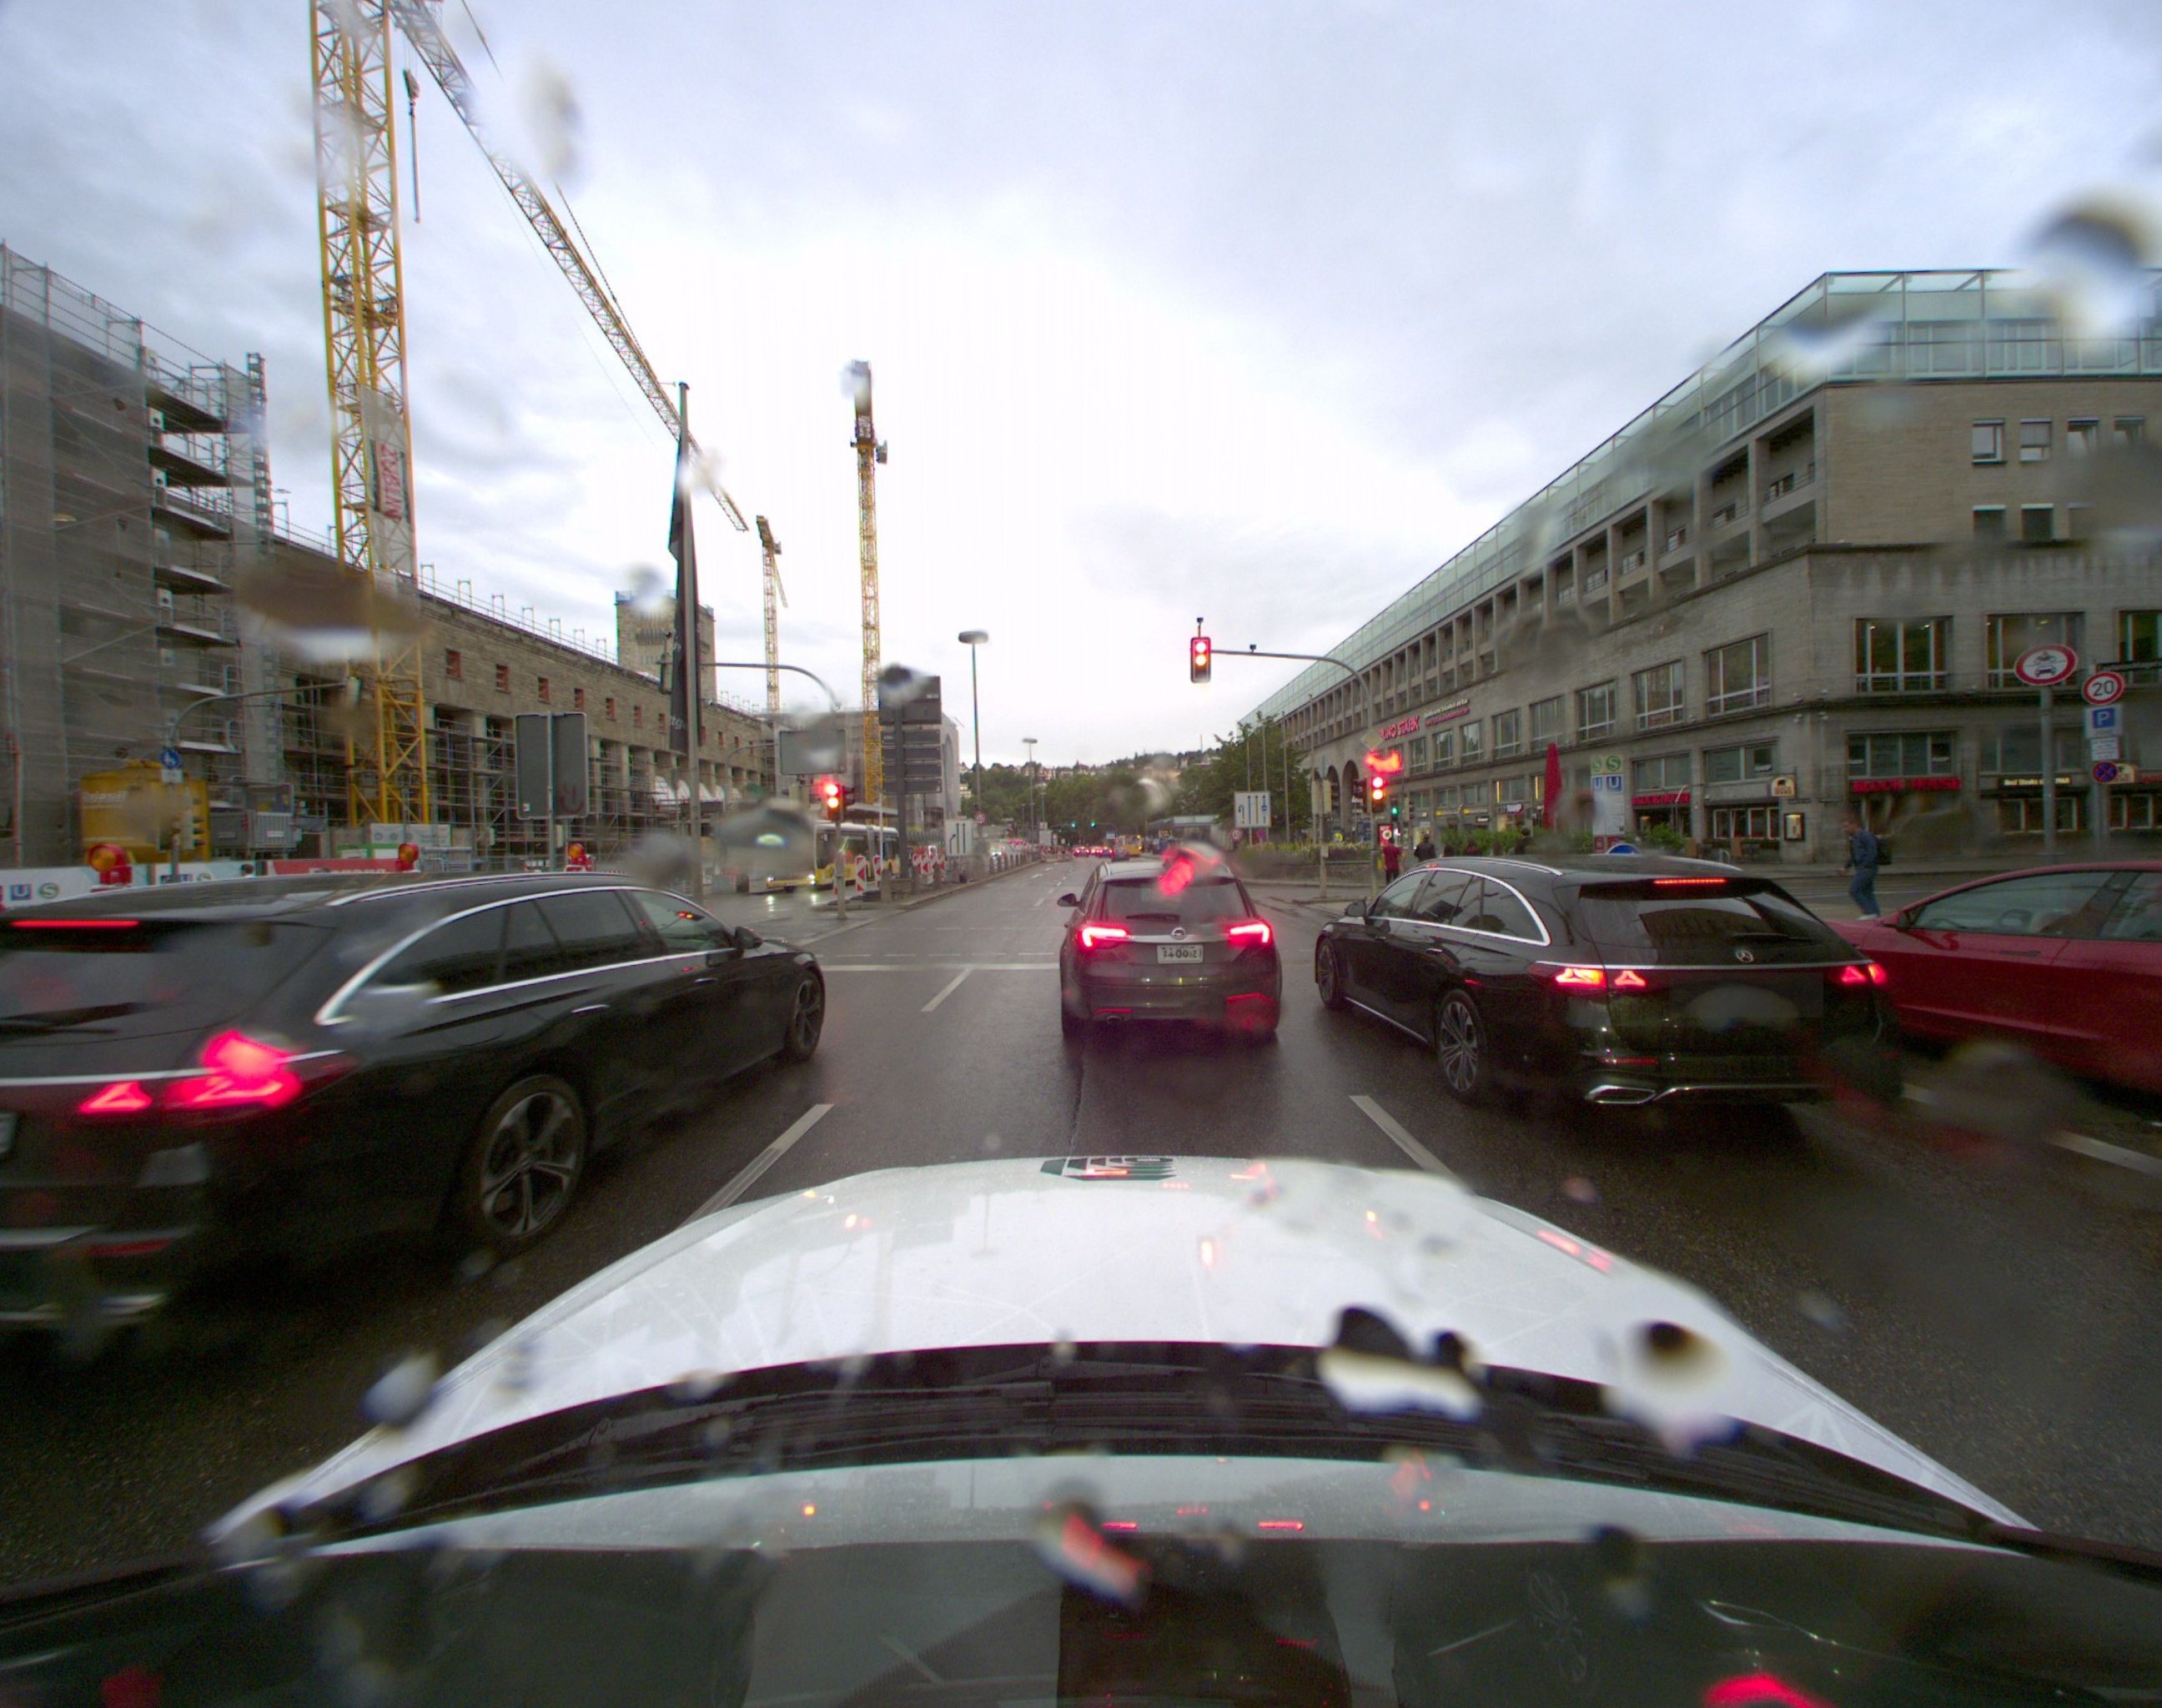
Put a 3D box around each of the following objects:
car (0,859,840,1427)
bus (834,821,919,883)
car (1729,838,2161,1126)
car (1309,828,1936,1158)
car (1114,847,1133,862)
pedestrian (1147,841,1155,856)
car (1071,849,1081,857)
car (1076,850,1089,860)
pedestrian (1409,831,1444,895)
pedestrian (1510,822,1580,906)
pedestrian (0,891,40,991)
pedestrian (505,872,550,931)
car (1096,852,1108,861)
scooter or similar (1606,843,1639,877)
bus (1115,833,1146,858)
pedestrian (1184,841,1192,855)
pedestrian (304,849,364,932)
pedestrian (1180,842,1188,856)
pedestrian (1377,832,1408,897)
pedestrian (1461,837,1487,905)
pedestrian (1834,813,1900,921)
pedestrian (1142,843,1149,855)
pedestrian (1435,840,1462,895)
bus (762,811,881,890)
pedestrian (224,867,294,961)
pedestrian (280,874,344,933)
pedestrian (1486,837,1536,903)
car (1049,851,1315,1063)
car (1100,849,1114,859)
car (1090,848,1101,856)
[{"bbox_3d":[-2.985,0.773,4.432,1.848,1.469,4.589,0,0,2],"label":"car"},{"bbox_3d":[-12.999,-0.082,52.827,2.658,3.602,10.215,0,0,2],"label":"bus"},{"bbox_3d":[6.518,0.656,4.801,1.868,1.486,4.527,0,0,1],"label":"car"},{"bbox_3d":[3.127,0.648,6.061,1.786,1.501,4.632,0,0,3],"label":"car"},{"bbox_3d":[4.095,0.090,78.866,1.839,1.398,3.668,0,0,2],"label":"car"},{"bbox_3d":[11.328,-0.870,132.290,1.194,2.435,1.229,0,-1,3],"label":"pedestrian"},{"bbox_3d":[-0.929,-0.166,150.266,1.752,1.398,3.565,0,0,2],"label":"car"},{"bbox_3d":[0.251,0.114,119.192,1.839,1.398,3.565,0,0,2],"label":"car"},{"bbox_3d":[9.509,0.248,22.408,0.753,1.717,0.466,0,-1,-2],"label":"pedestrian"},{"bbox_3d":[10.243,0.223,18.008,1.093,1.751,0.653,-3,-1,-1],"label":"pedestrian"},{"bbox_3d":[-19.074,1.532,14.262,0.797,1.717,0.619,-3,0,-2],"label":"pedestrian"},{"bbox_3d":[-15.139,1.276,22.292,0.864,1.561,0.792,-1,-1,38],"label":"pedestrian"},{"bbox_3d":[3.279,0.381,125.923,1.747,1.398,4.402,0,0,0],"label":"car"},{"bbox_3d":[19.369,0.207,29.145,0.290,1.189,1.014,0,-1,-17],"label":"scooter or similar"},{"bbox_3d":[7.205,-1.136,120.961,4.158,3.469,14.660,0,0,2],"label":"bus"},{"bbox_3d":[12.373,-0.701,94.183,0.761,1.690,0.824,0,-1,-3],"label":"pedestrian"},{"bbox_3d":[-16.850,0.803,18.385,0.576,1.836,0.820,0,-1,2],"label":"pedestrian"},{"bbox_3d":[12.034,-0.580,95.159,0.761,1.690,0.824,0,-1,-3],"label":"pedestrian"},{"bbox_3d":[8.492,0.277,22.187,0.563,1.752,0.684,-1,-1,44],"label":"pedestrian"},{"bbox_3d":[10.292,0.436,21.306,0.477,1.751,0.670,-4,-1,30],"label":"pedestrian"},{"bbox_3d":[13.228,0.211,13.707,0.770,1.756,0.507,-1,-1,45],"label":"pedestrian"},{"bbox_3d":[11.623,-0.859,145.922,1.194,2.149,1.229,0,-1,3],"label":"pedestrian"},{"bbox_3d":[9.703,0.360,21.512,0.625,1.428,0.492,-1,-1,24],"label":"pedestrian"},{"bbox_3d":[-13.190,-0.131,42.566,2.658,3.602,10.243,0,0,2],"label":"bus"},{"bbox_3d":[-16.987,1.215,16.849,0.798,1.890,0.618,0,-1,-7],"label":"pedestrian"},{"bbox_3d":[-21.332,1.354,22.602,0.912,1.563,0.899,0,-1,-2],"label":"pedestrian"},{"bbox_3d":[10.931,0.401,20.731,0.791,1.626,0.899,0,-1,-2],"label":"pedestrian"},{"bbox_3d":[0.759,0.735,7.760,1.868,1.486,4.001,0,0,1],"label":"car"},{"bbox_3d":[3.519,0.032,110.193,1.748,1.398,4.647,0,0,-1],"label":"car"},{"bbox_3d":[2.568,-0.391,142.203,1.839,1.398,3.565,0,0,2],"label":"car"}]
